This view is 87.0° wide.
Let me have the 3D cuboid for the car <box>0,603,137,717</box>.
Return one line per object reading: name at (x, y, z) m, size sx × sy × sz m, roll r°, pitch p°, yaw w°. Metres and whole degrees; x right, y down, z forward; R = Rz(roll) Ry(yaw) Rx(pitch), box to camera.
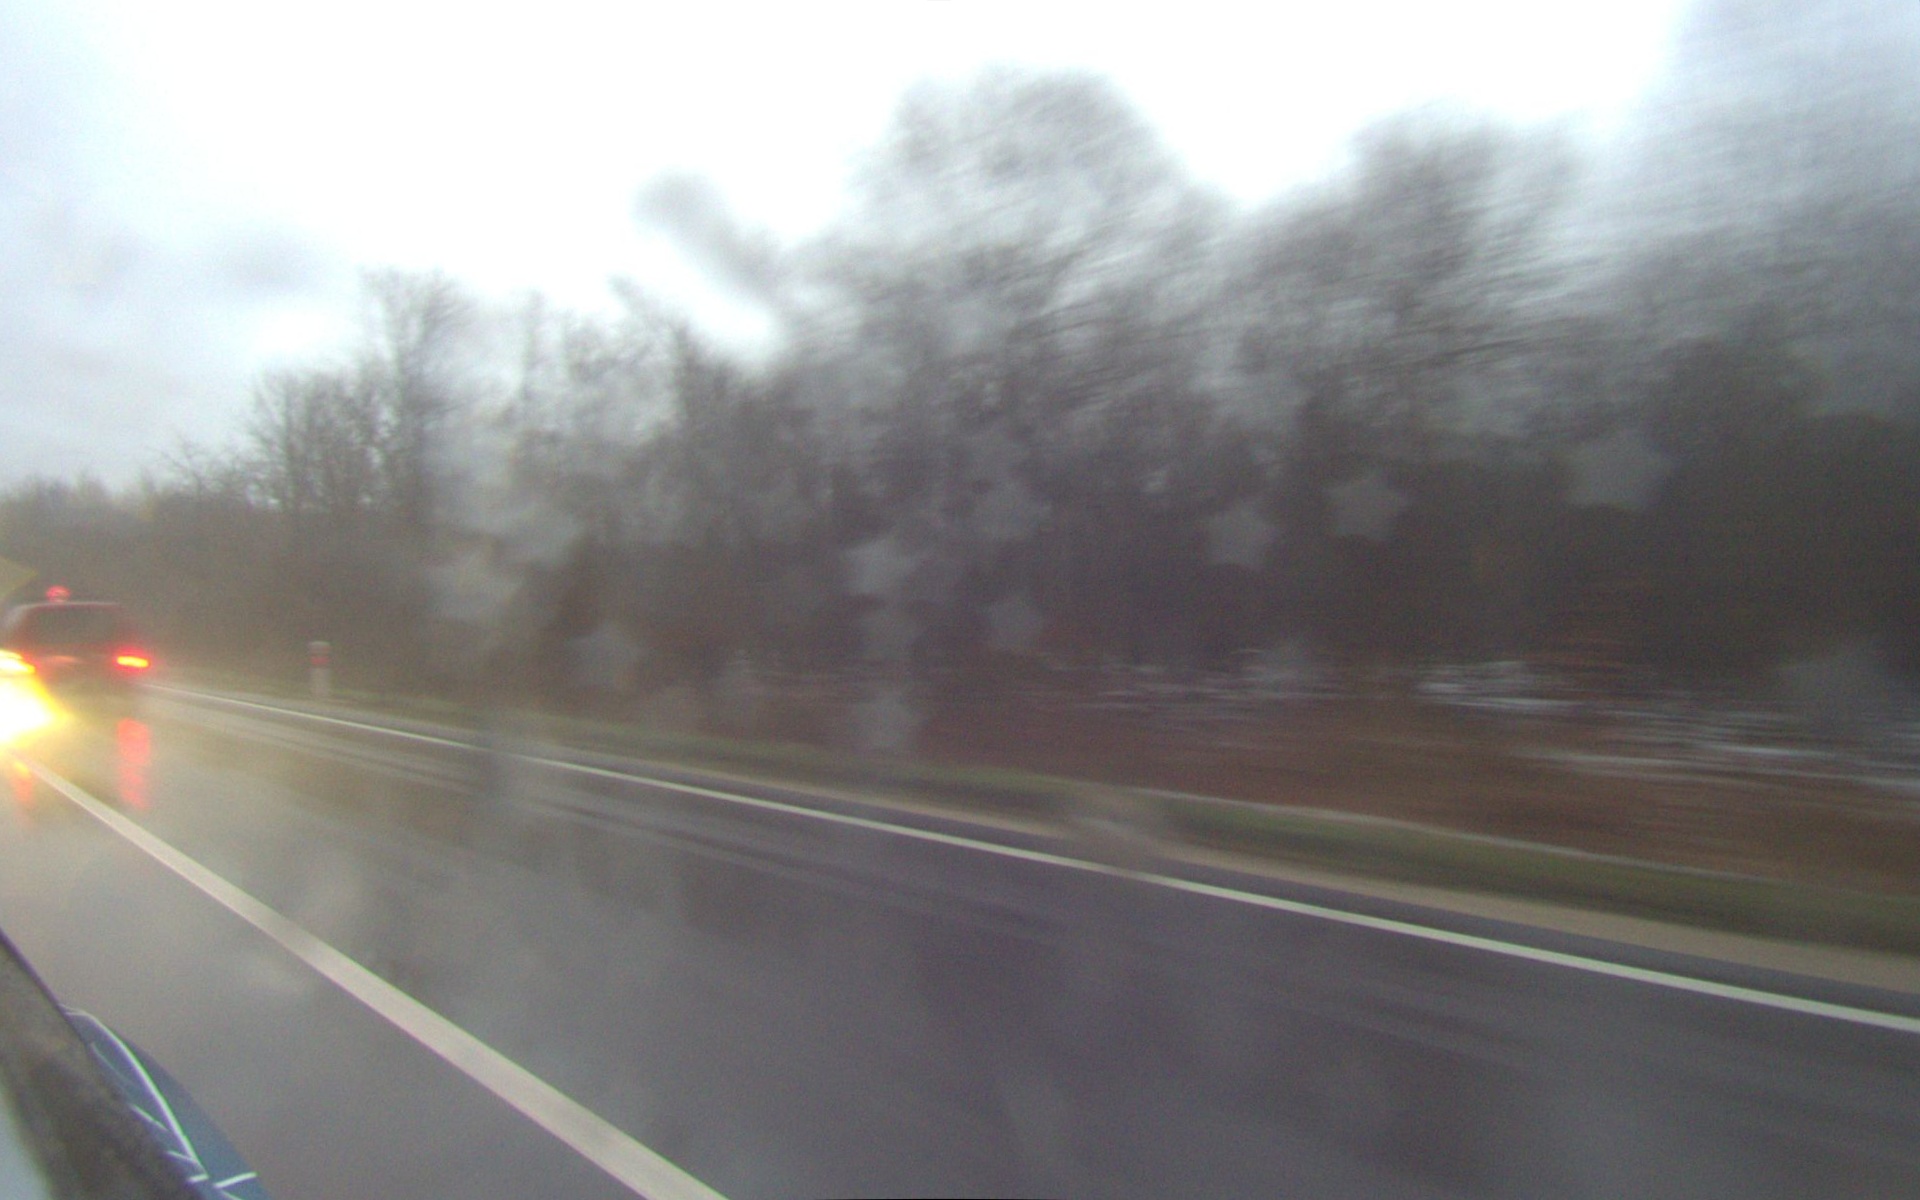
car at (-15.830, 0.962, 17.698) m, size 3.836 × 1.750 × 1.656 m, roll -1°, pitch 0°, yaw 42°
